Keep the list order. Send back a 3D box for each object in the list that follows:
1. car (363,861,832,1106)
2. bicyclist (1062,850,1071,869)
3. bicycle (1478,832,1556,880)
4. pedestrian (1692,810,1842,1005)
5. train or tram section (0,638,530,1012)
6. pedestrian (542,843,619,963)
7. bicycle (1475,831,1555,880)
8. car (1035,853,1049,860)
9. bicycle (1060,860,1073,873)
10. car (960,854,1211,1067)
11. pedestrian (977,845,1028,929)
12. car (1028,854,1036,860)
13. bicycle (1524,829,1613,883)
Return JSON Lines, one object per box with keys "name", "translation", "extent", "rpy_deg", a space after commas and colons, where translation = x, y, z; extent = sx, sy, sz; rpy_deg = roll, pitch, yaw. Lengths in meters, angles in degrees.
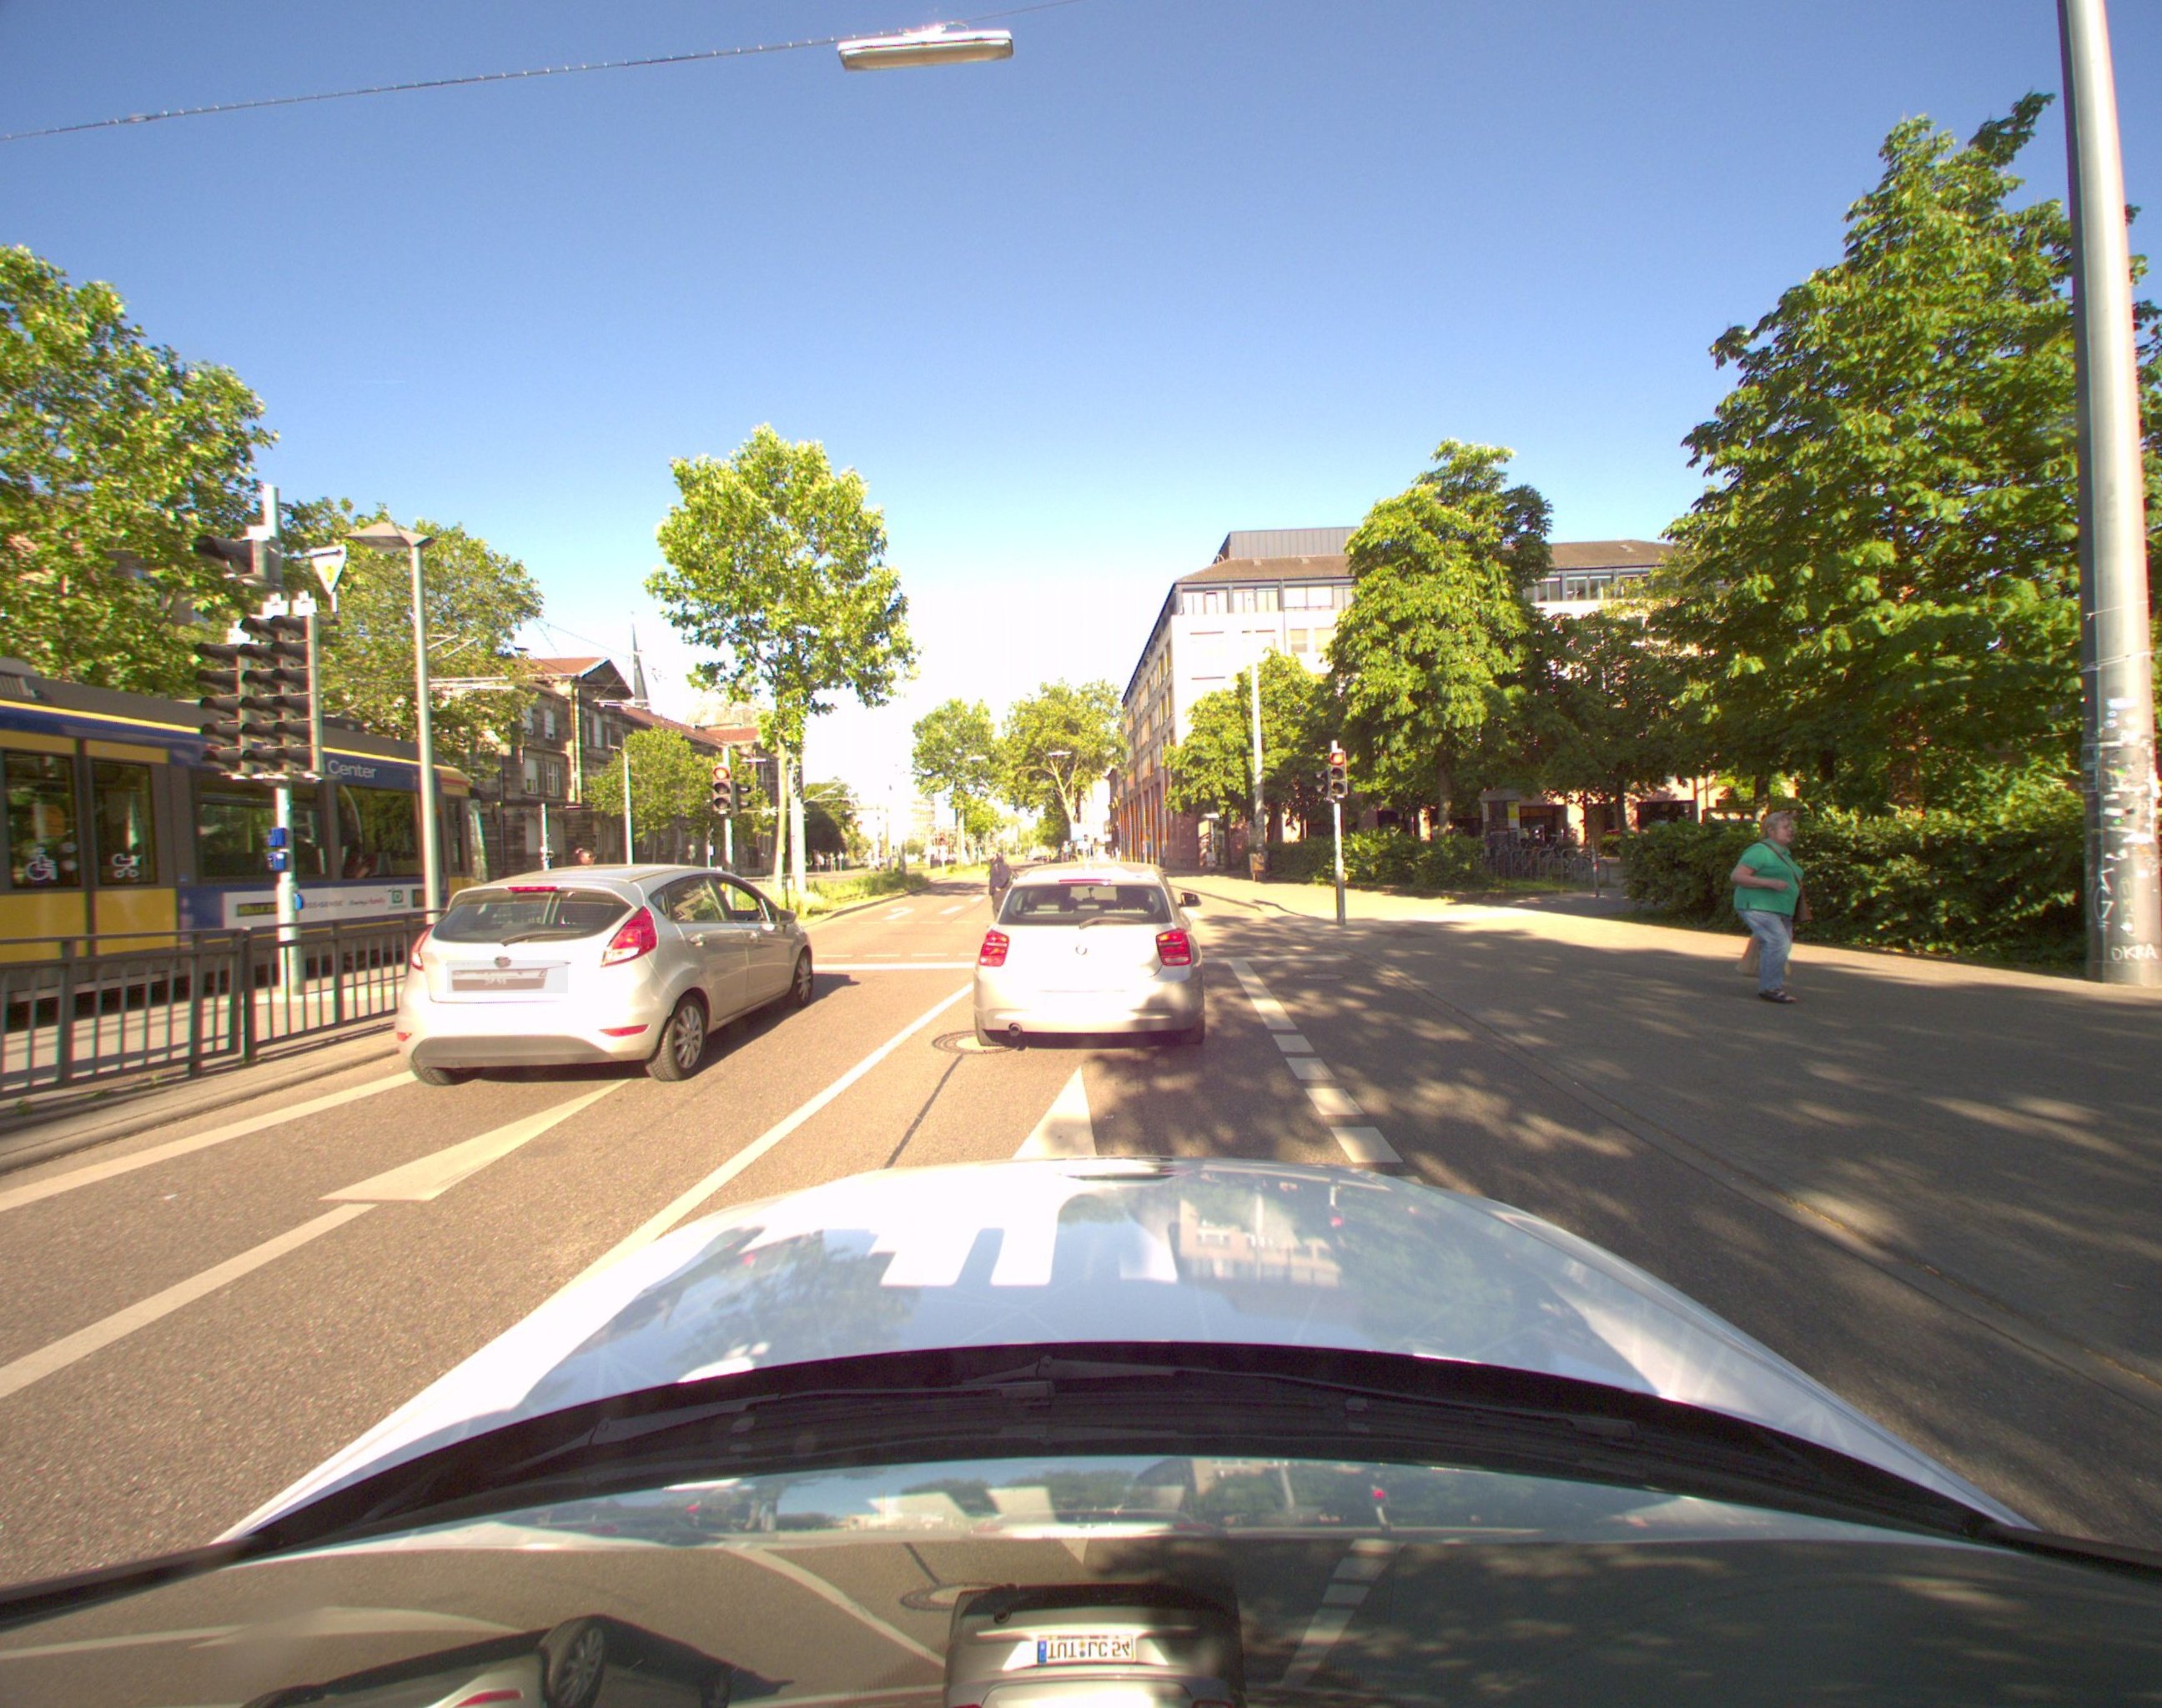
{"name": "car", "translation": [-3.418, 0.782, 6.643], "extent": [1.655, 1.409, 3.631], "rpy_deg": [-1, 0, -1]}
{"name": "bicyclist", "translation": [-1.316, 0.499, 72.776], "extent": [0.655, 1.657, 0.766], "rpy_deg": [-3, 0, 7]}
{"name": "bicycle", "translation": [13.101, 0.054, 24.489], "extent": [1.989, 1.314, 0.574], "rpy_deg": [-3, 0, 0]}
{"name": "pedestrian", "translation": [5.982, 0.433, 7.109], "extent": [0.743, 1.575, 0.822], "rpy_deg": [-2, -1, -41]}
{"name": "train or tram section", "translation": [-10.915, -0.235, 7.813], "extent": [2.908, 3.260, 13.097], "rpy_deg": [0, -1, -3]}
{"name": "pedestrian", "translation": [-6.820, 0.649, 11.119], "extent": [0.630, 1.557, 0.645], "rpy_deg": [-2, 0, -7]}
{"name": "bicycle", "translation": [12.710, 0.044, 23.874], "extent": [1.989, 1.314, 0.574], "rpy_deg": [-3, 0, 0]}
{"name": "car", "translation": [-9.887, 0.672, 204.263], "extent": [2.004, 1.486, 3.965], "rpy_deg": [-2, 0, -27]}
{"name": "bicycle", "translation": [-1.302, 1.090, 72.783], "extent": [0.827, 1.041, 1.878], "rpy_deg": [-3, 0, 7]}
{"name": "car", "translation": [0.196, 0.730, 7.516], "extent": [1.722, 1.390, 3.845], "rpy_deg": [0, 1, 5]}
{"name": "pedestrian", "translation": [-1.580, 0.639, 16.342], "extent": [0.941, 1.629, 0.626], "rpy_deg": [-1, 0, -12]}
{"name": "car", "translation": [-13.228, 0.790, 221.220], "extent": [1.990, 1.486, 3.993], "rpy_deg": [-2, 0, -5]}
{"name": "bicycle", "translation": [13.118, 0.063, 21.959], "extent": [1.989, 1.314, 0.574], "rpy_deg": [-3, 0, 0]}
